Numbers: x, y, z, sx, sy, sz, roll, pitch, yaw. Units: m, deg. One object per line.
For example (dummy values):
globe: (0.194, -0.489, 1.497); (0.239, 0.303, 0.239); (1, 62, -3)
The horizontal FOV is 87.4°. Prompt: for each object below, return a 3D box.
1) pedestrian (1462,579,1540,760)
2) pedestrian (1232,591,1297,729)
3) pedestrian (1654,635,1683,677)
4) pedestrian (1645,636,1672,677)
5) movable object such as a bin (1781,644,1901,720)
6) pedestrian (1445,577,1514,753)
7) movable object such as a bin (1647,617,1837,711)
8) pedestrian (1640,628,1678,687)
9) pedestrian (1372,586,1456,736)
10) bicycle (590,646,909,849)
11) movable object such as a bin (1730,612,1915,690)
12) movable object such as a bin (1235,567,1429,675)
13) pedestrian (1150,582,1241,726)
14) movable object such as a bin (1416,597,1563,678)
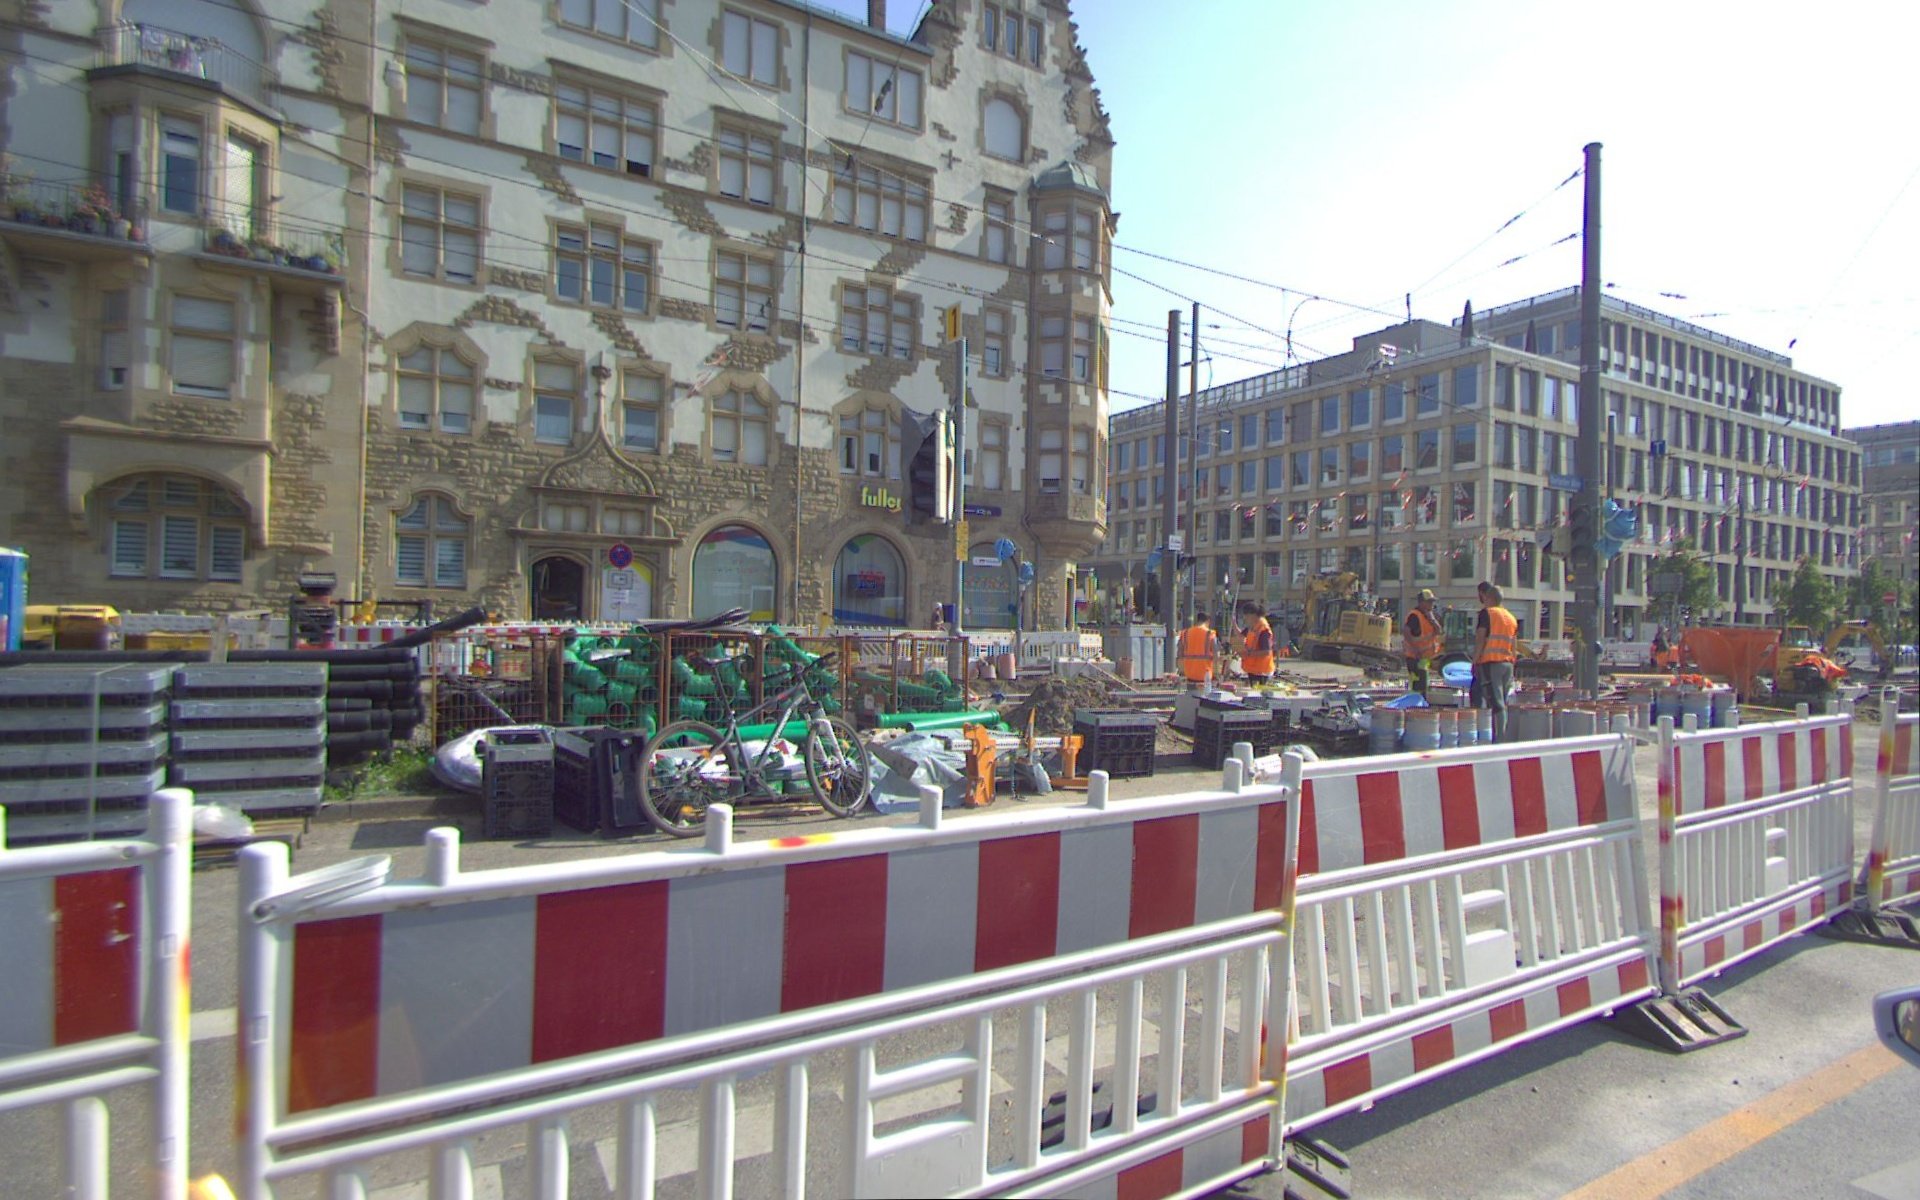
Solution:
pedestrian: (6.068, 0.760, 11.295); (0.700, 1.952, 0.685); (1, -2, 24)
pedestrian: (4.216, 0.819, 13.935); (0.813, 1.833, 0.755); (1, -2, 16)
pedestrian: (32.689, 2.568, 46.326); (0.804, 1.889, 0.915); (2, -1, -40)
pedestrian: (33.170, 2.692, 47.711); (0.794, 1.889, 0.756); (2, -1, 7)
movable object such as a bin: (15.320, 1.415, 17.459); (2.185, 1.227, 0.883); (2, -2, -29)
pedestrian: (6.262, 0.768, 12.136); (0.683, 2.041, 0.674); (1, -2, 24)
movable object such as a bin: (14.360, 1.152, 18.437); (3.246, 1.579, 1.593); (2, -2, -29)
pedestrian: (23.275, 1.900, 33.453); (0.712, 1.937, 0.785); (2, -1, -21)
pedestrian: (5.947, 0.795, 13.178); (0.698, 1.895, 0.718); (2, -2, -21)
bicycle: (-1.302, 0.891, 6.529); (1.952, 1.113, 0.557); (3, -1, -40)
movable object such as a bin: (38.136, 2.283, 44.353); (8.378, 2.997, 3.596); (3, -1, -30)
movable object such as a bin: (16.893, 1.011, 46.348); (4.889, 4.404, 7.357); (3, -2, -16)
pedestrian: (3.101, 0.711, 13.286); (0.870, 1.840, 0.828); (2, -2, -15)
movable object such as a bin: (19.964, 1.388, 38.166); (4.724, 2.872, 2.449); (1, -2, 23)
